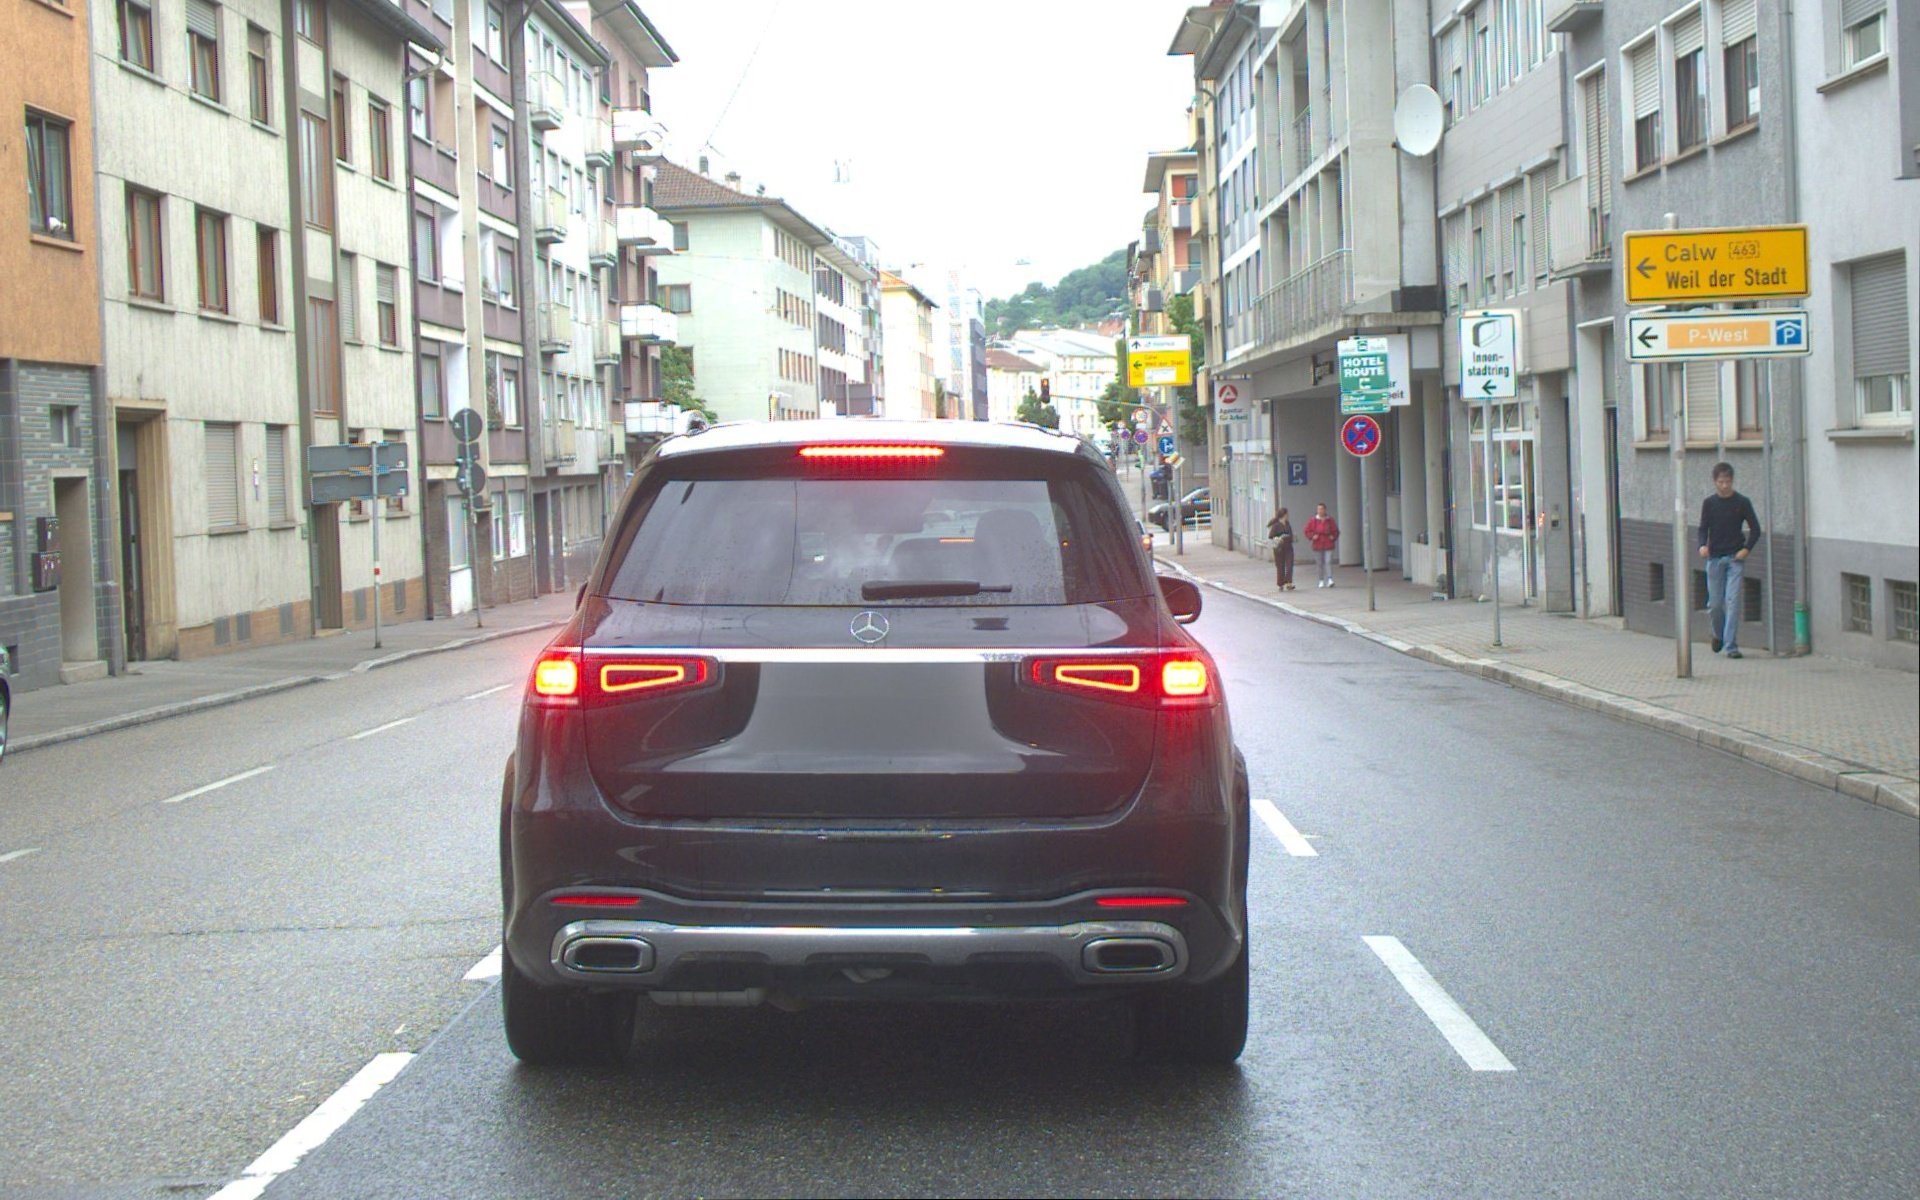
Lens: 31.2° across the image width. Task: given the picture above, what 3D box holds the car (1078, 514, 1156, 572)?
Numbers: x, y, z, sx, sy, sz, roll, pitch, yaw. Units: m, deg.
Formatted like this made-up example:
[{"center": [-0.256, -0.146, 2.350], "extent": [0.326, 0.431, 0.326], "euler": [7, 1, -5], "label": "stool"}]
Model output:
[{"center": [3.972, -1.472, 87.540], "extent": [1.734, 1.383, 4.583], "euler": [-1, 2, -1], "label": "car"}]

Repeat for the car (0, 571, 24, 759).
[{"center": [-8.444, 0.576, 25.400], "extent": [1.891, 1.453, 4.550], "euler": [-1, 2, -1], "label": "car"}]

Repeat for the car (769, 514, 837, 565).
[{"center": [-4.678, -1.822, 102.950], "extent": [1.891, 1.453, 4.550], "euler": [-1, 2, -1], "label": "car"}]

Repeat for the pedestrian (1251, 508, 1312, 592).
[{"center": [6.057, -0.954, 64.823], "extent": [0.820, 1.560, 0.900], "euler": [-1, 2, -21], "label": "pedestrian"}]

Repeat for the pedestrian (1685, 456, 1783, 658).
[{"center": [6.929, -0.390, 30.798], "extent": [0.655, 1.746, 0.741], "euler": [-4, 1, 6], "label": "pedestrian"}]

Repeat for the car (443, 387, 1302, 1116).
[{"center": [-0.237, 0.285, 10.680], "extent": [2.076, 1.759, 4.612], "euler": [-1, 2, -1], "label": "car"}]

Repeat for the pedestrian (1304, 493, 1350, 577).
[{"center": [6.915, -1.221, 64.767], "extent": [0.821, 1.560, 0.899], "euler": [0, 2, 3], "label": "pedestrian"}]
